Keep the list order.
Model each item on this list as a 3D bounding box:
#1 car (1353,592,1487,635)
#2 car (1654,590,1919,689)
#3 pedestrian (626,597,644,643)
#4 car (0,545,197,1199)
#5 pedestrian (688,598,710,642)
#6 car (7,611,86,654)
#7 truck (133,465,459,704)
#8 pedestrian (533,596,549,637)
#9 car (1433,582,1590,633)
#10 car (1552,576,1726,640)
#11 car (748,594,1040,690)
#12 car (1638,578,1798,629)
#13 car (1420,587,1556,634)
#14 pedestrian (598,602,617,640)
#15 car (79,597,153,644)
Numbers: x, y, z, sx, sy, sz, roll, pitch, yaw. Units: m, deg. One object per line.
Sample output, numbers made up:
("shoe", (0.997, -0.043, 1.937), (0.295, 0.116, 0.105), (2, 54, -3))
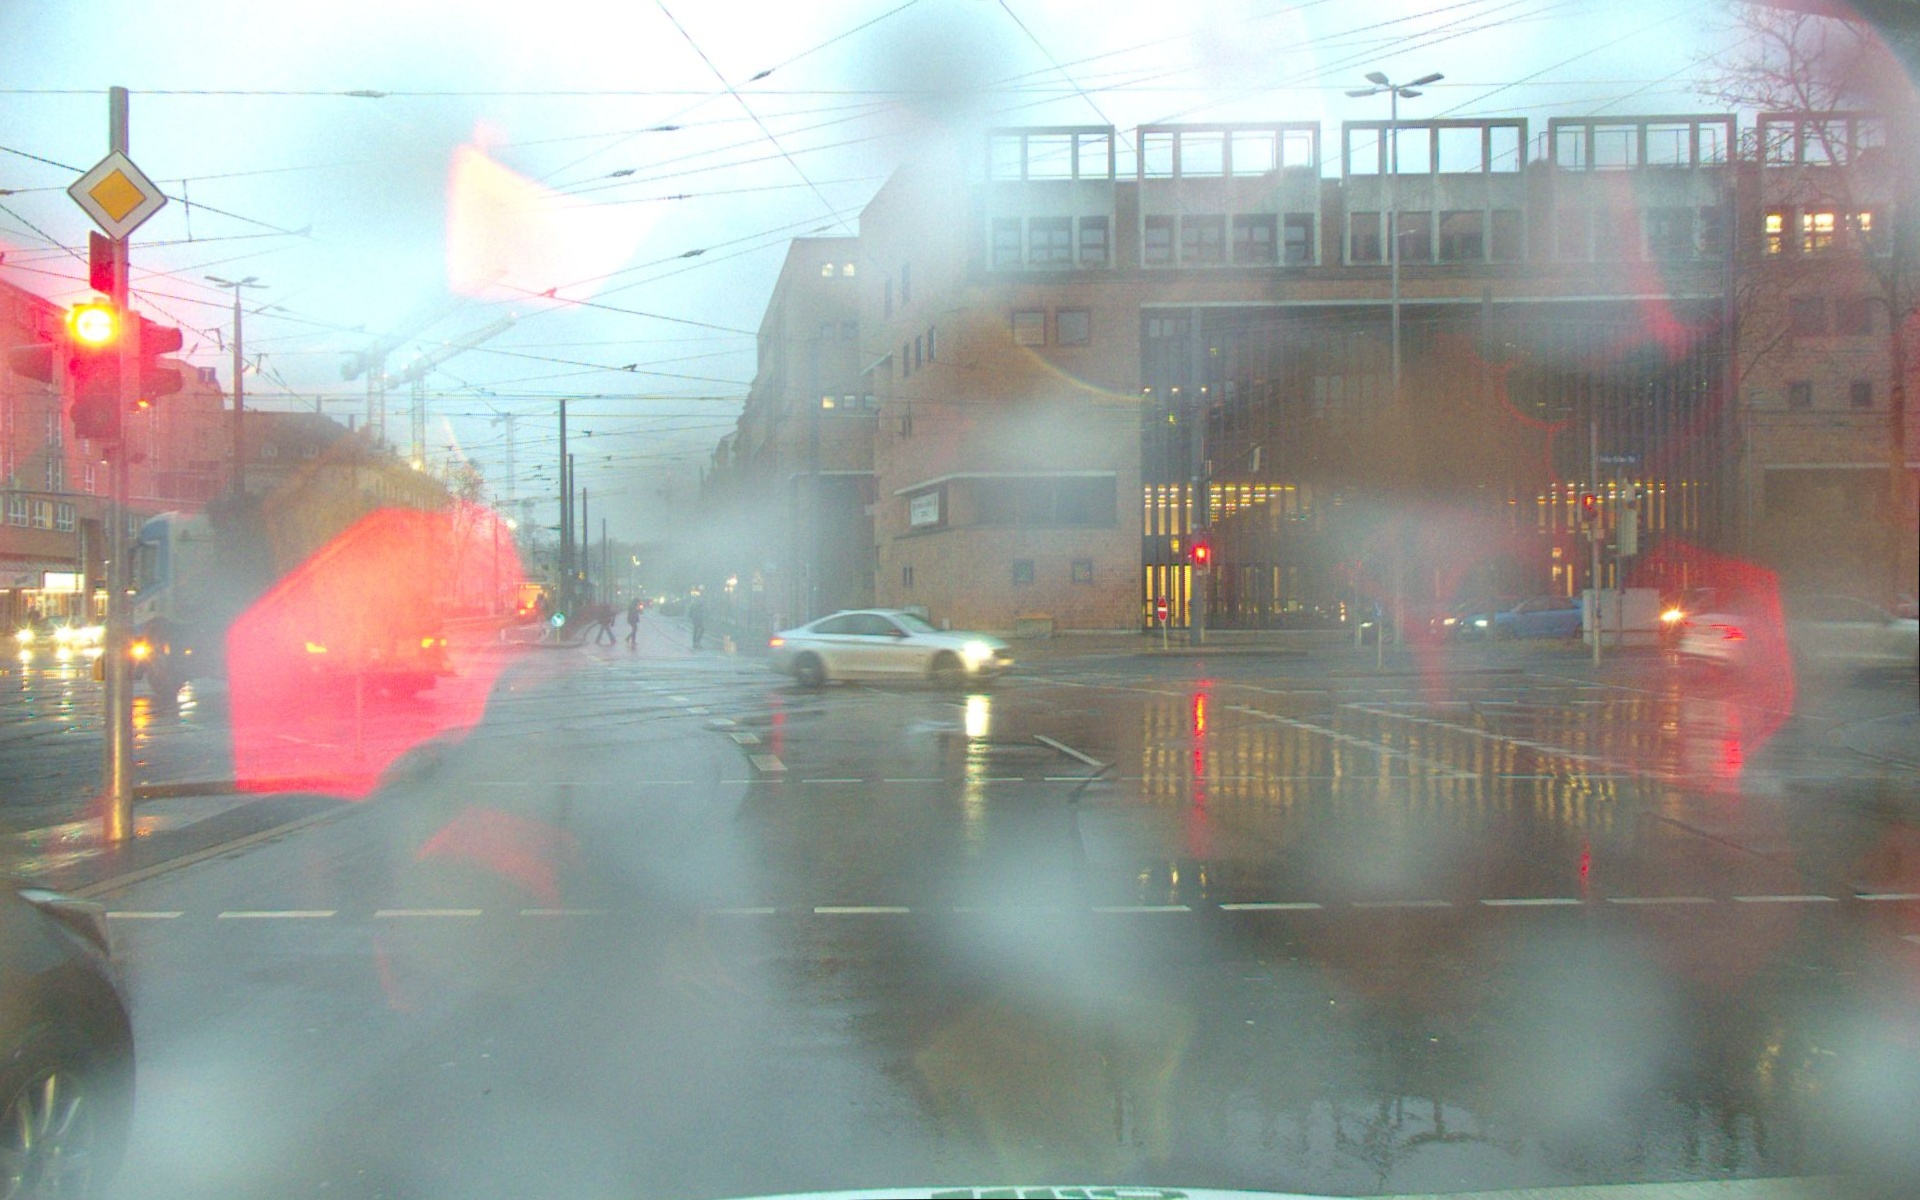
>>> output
("car", (15.537, 0.449, 55.951), (3.909, 1.333, 1.998), (-1, 0, -5))
("car", (14.862, 0.654, 28.803), (4.725, 1.588, 2.048), (-1, 0, -6))
("pedestrian", (-12.583, 0.770, 64.045), (0.654, 1.755, 0.487), (-1, 0, -11))
("car", (-2.617, 0.710, 1.949), (1.596, 1.550, 3.942), (0, 2, 0))
("pedestrian", (-10.388, 0.784, 65.795), (0.828, 1.717, 0.648), (-1, 0, -11))
("car", (-38.554, 1.347, 69.881), (1.960, 1.700, 3.984), (-1, 0, -15))
("truck", (-11.913, -0.234, 29.241), (2.826, 3.697, 7.405), (-1, 0, -44))
("pedestrian", (-18.239, 0.704, 72.009), (0.681, 1.754, 0.762), (-1, 0, -15))
("car", (15.975, 0.208, 48.045), (3.910, 1.284, 1.846), (-1, 4, -7))
("car", (18.228, 0.204, 44.500), (3.910, 1.530, 1.846), (-1, 4, -7))
("car", (-1.207, 0.745, 30.458), (4.886, 1.635, 2.253), (-1, 0, 23))
("car", (22.347, 0.090, 48.849), (3.910, 1.310, 1.846), (-1, 4, -7))
("car", (16.602, 0.316, 52.140), (3.649, 1.284, 1.846), (-1, 4, -7))
("pedestrian", (-14.049, 0.843, 65.898), (0.687, 1.510, 0.574), (-1, 0, -11))
("car", (-35.576, 0.844, 69.817), (1.960, 1.893, 3.984), (-1, 0, -15))
